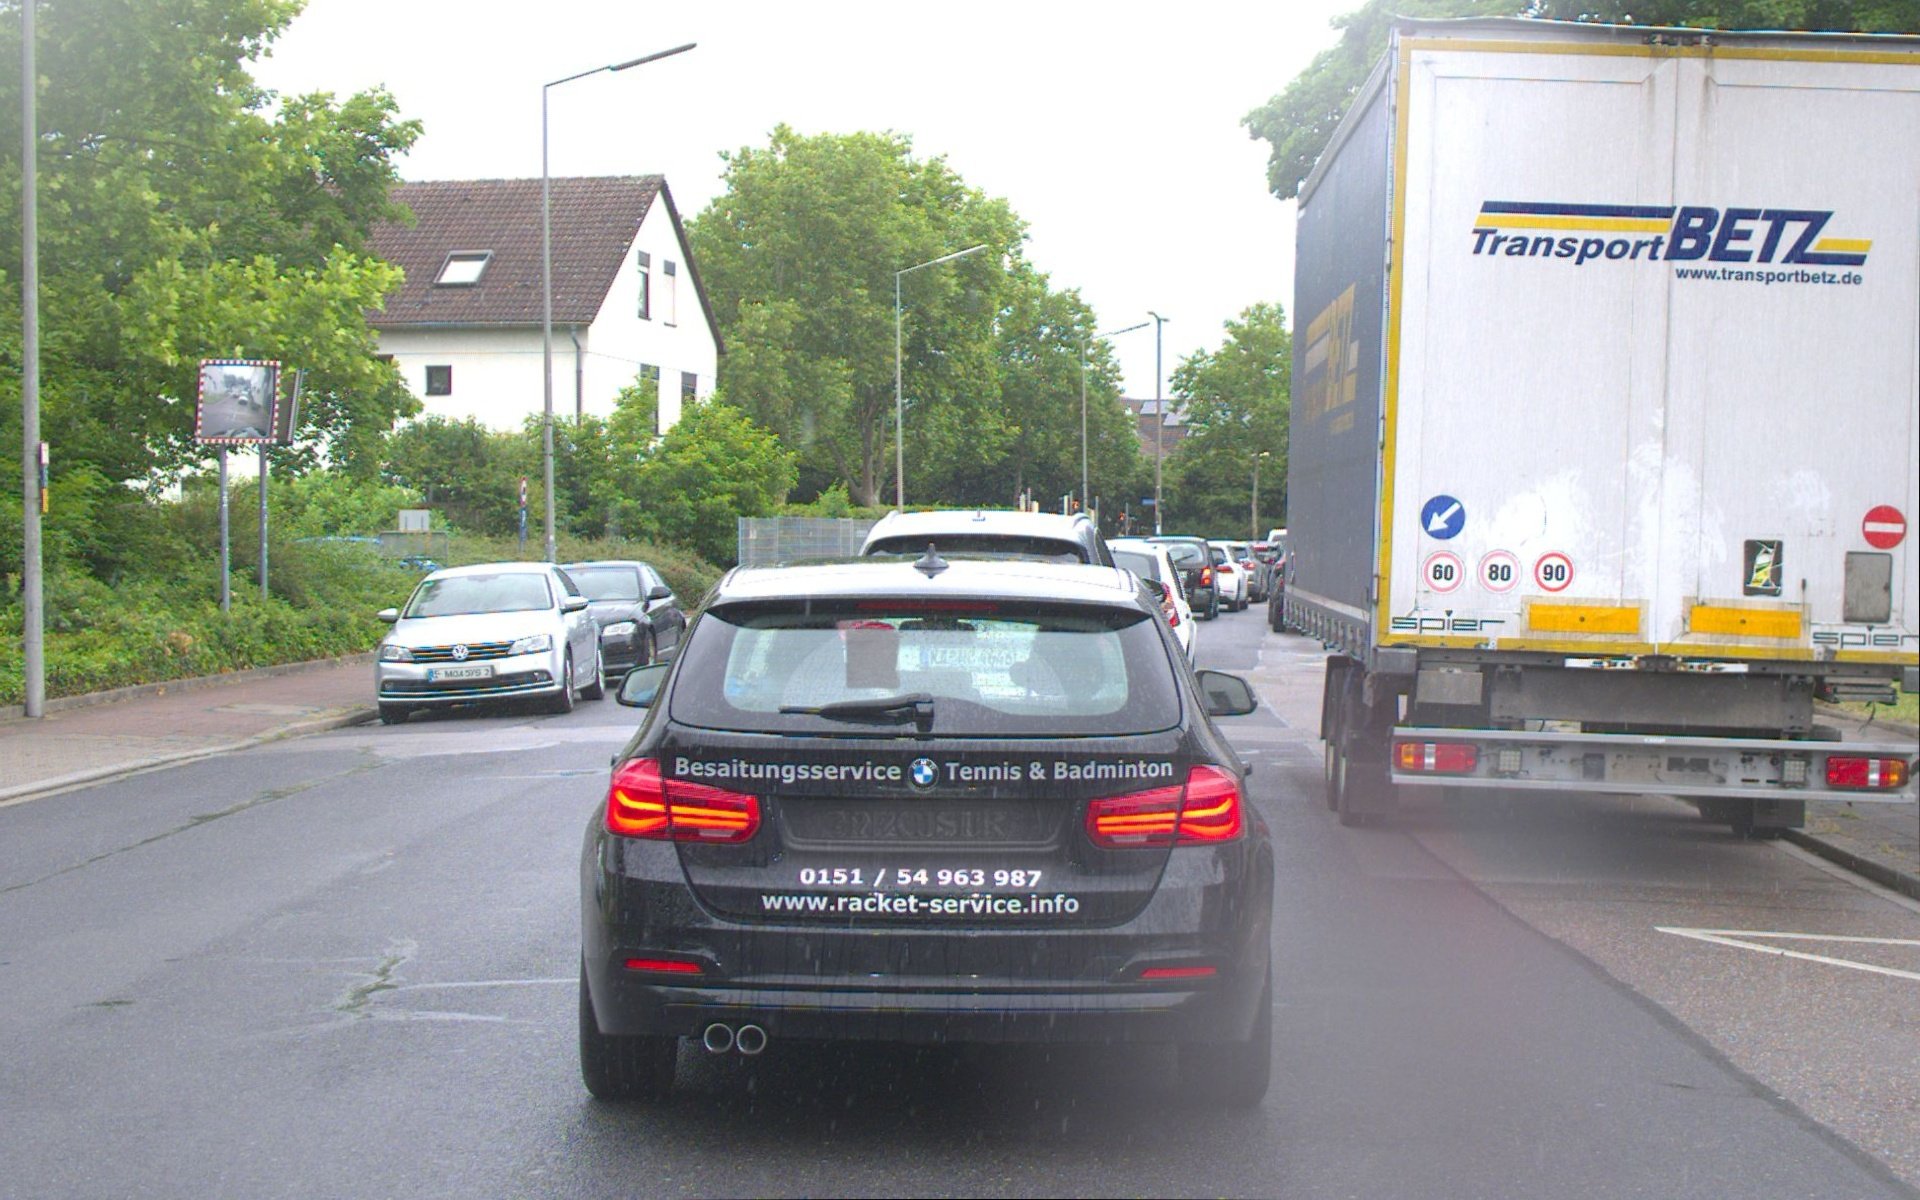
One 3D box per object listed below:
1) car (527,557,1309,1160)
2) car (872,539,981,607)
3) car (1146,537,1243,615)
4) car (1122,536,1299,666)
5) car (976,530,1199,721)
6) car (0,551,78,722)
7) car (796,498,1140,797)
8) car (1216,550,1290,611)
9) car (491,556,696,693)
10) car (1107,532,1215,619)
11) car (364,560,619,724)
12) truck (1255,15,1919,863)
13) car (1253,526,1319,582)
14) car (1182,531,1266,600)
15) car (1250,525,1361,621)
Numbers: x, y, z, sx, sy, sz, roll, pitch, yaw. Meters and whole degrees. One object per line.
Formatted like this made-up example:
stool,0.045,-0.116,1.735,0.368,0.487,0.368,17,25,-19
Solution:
car,-0.199,0.582,9.999,1.804,1.390,4.001,1,1,-3
car,-0.712,-0.623,76.100,1.706,1.362,3.837,-2,1,10
car,4.953,-0.508,72.295,1.805,1.581,3.999,1,1,7
car,3.375,-0.003,47.020,1.993,1.678,4.000,1,0,-2
car,1.204,0.190,30.841,1.804,1.581,3.999,1,1,5
car,-9.874,0.262,30.595,3.569,1.455,1.712,2,1,1
car,-0.049,0.234,20.442,1.804,1.581,4.001,1,1,-3
car,7.795,-0.528,91.368,1.805,1.581,3.999,1,1,7
car,-4.090,0.242,38.899,1.705,1.362,3.838,-2,1,2
car,3.879,-0.476,65.928,1.805,1.581,3.999,1,1,7
car,-4.419,0.349,33.037,1.705,1.362,4.601,-2,1,1
truck,3.285,-0.761,18.834,2.741,3.598,7.750,2,1,2
car,9.506,-1.361,100.048,1.805,1.581,3.999,0,1,7
car,6.304,-0.824,81.678,1.805,1.581,3.999,1,1,7
car,5.906,-0.472,59.092,1.804,1.581,3.999,1,1,5
